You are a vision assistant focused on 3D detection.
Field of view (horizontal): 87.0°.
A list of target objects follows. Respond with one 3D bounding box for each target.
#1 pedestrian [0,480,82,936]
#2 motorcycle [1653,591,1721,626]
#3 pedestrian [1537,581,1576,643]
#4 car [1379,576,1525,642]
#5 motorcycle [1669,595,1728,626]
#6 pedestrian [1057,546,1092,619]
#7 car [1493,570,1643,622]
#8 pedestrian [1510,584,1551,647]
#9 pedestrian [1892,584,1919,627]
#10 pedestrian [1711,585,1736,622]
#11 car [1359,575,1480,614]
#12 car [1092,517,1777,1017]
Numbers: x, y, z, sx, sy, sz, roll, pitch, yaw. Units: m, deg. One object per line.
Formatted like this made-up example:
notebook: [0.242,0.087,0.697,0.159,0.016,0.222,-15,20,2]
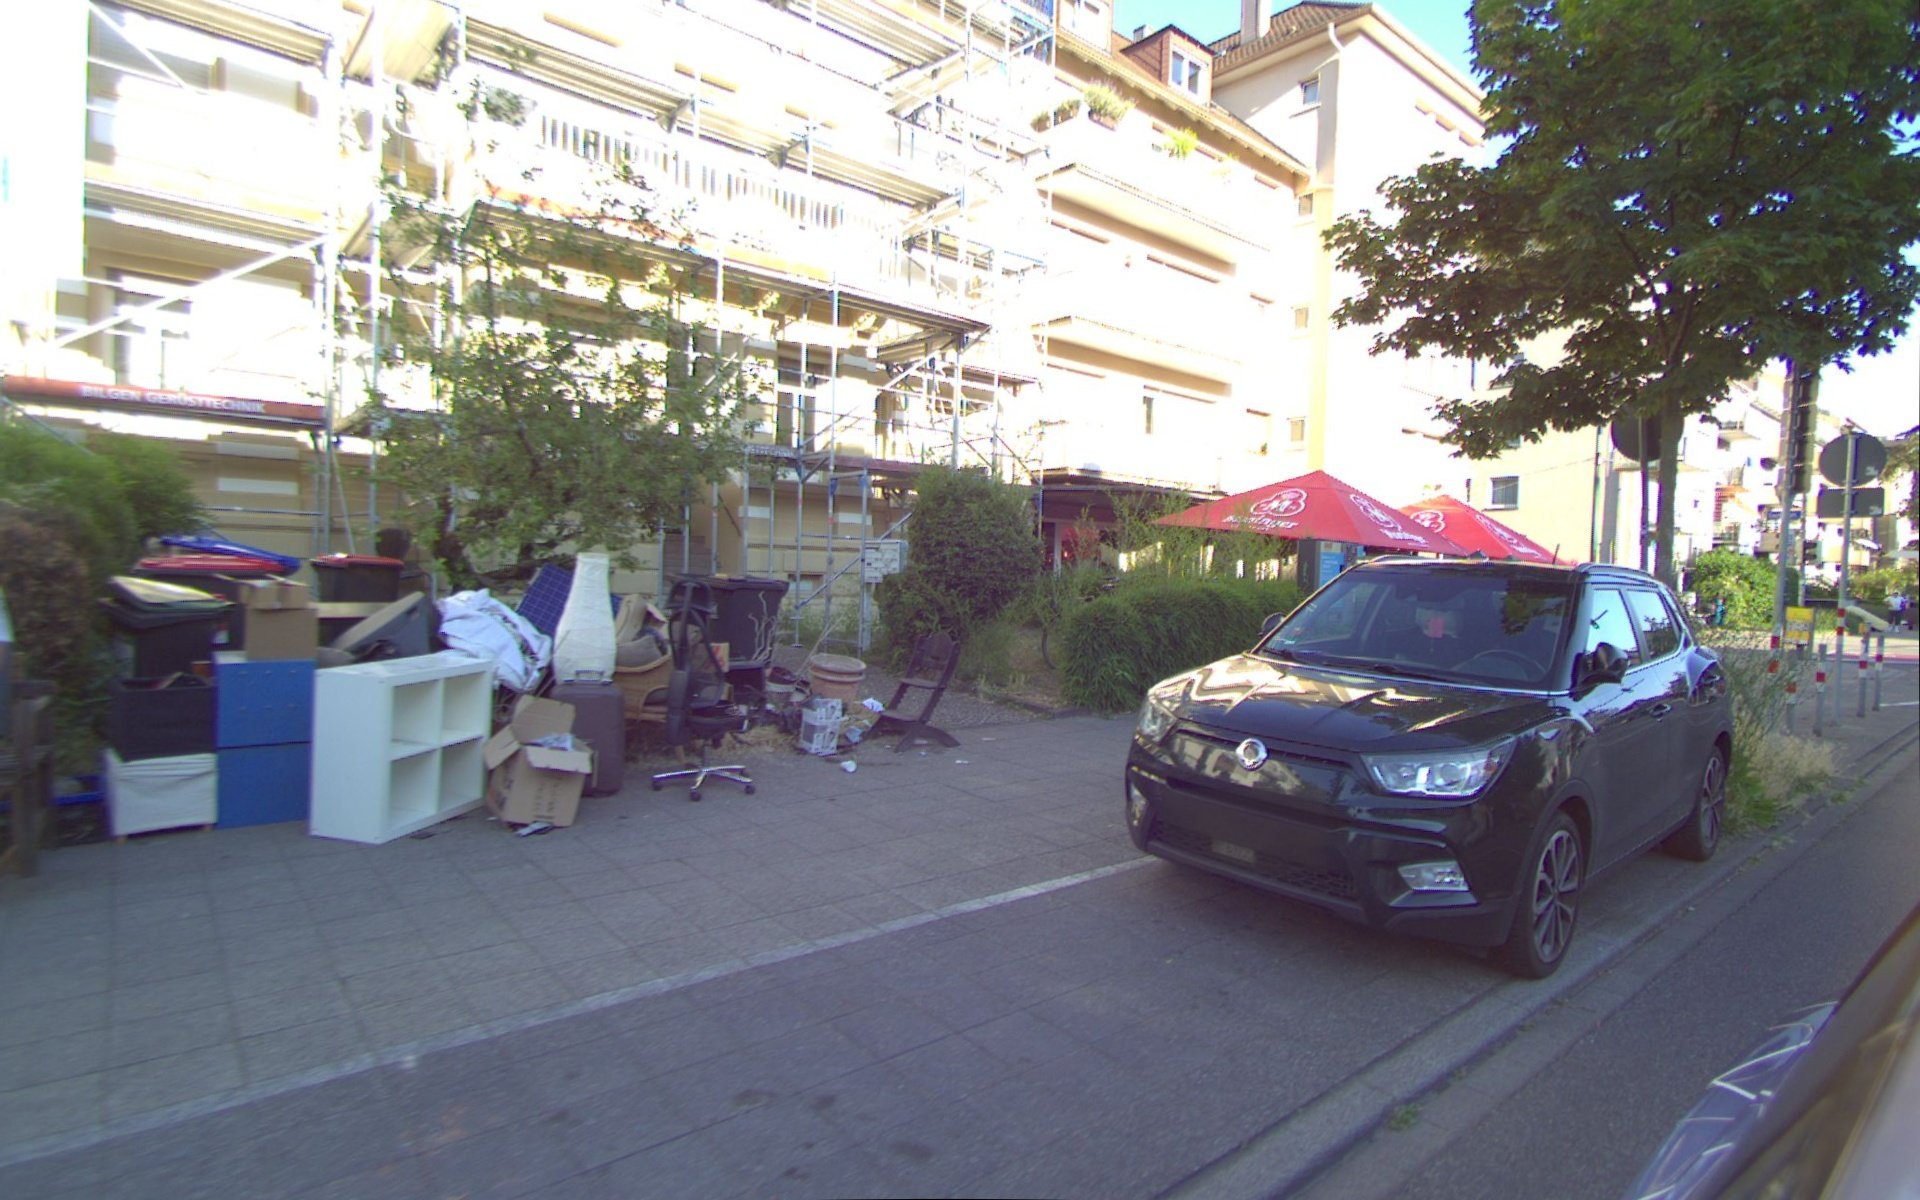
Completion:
pedestrian: [-3.641,0.371,3.531,0.553,1.587,0.740,2,2,31]
motorcycle: [26.924,0.284,37.495,1.981,1.215,0.764,2,2,38]
pedestrian: [11.536,0.228,19.578,0.620,1.164,0.413,0,1,-37]
car: [12.568,0.180,25.763,4.130,1.502,1.832,0,2,-41]
motorcycle: [27.764,0.383,38.079,0.584,1.125,1.698,0,2,-39]
pedestrian: [2.870,-0.441,25.314,0.672,1.797,0.525,0,1,-40]
car: [24.523,-0.216,40.966,1.920,1.888,4.836,-2,3,-42]
pedestrian: [10.739,0.280,19.054,0.516,1.164,0.495,0,1,-36]
pedestrian: [39.346,0.219,41.975,0.648,1.703,0.831,0,2,-36]
pedestrian: [29.310,0.116,38.844,0.584,1.408,0.641,0,1,-41]
car: [20.673,-0.288,45.677,1.920,1.560,4.615,-2,4,-42]
car: [2.715,0.504,5.347,3.959,1.651,1.796,0,4,-42]
